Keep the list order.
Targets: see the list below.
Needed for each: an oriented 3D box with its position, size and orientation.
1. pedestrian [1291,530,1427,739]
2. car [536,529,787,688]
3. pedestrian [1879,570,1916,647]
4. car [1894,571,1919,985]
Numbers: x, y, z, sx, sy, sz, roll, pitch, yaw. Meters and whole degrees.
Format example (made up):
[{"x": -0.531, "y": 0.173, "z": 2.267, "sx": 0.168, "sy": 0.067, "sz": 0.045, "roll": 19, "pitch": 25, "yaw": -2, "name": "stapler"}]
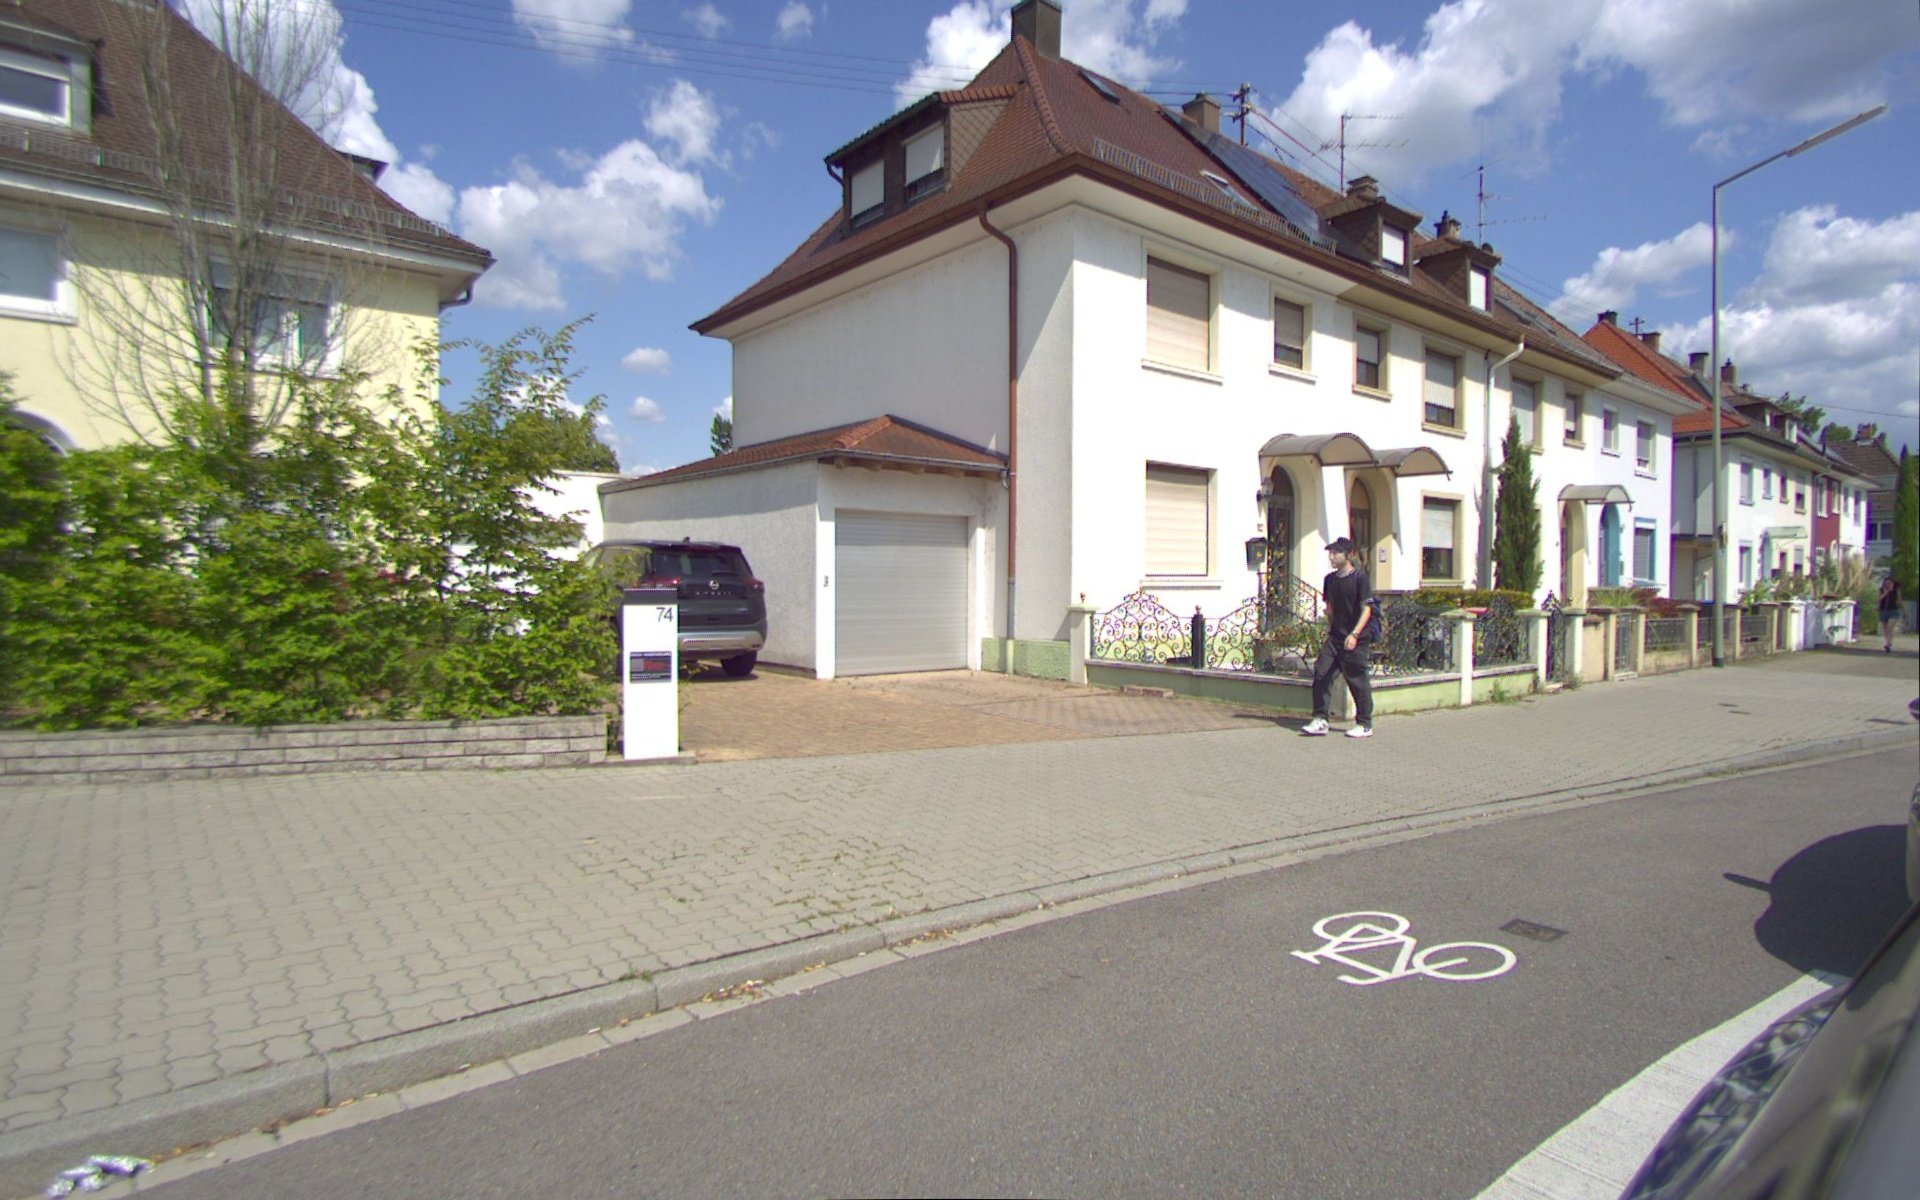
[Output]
[{"x": 3.558, "y": 0.294, "z": 9.061, "sx": 0.918, "sy": 1.790, "sz": 0.594, "roll": 1, "pitch": 1, "yaw": -12, "name": "pedestrian"}, {"x": -4.012, "y": 0.043, "z": 13.180, "sx": 1.833, "sy": 1.729, "sz": 3.998, "roll": 0, "pitch": 1, "yaw": -37, "name": "car"}, {"x": 21.450, "y": 0.175, "z": 23.150, "sx": 0.607, "sy": 1.732, "sz": 0.519, "roll": 0, "pitch": 1, "yaw": -39, "name": "pedestrian"}, {"x": 5.698, "y": 0.648, "z": 4.596, "sx": 4.607, "sy": 1.492, "sz": 1.764, "roll": 0, "pitch": 1, "yaw": -43, "name": "car"}]
